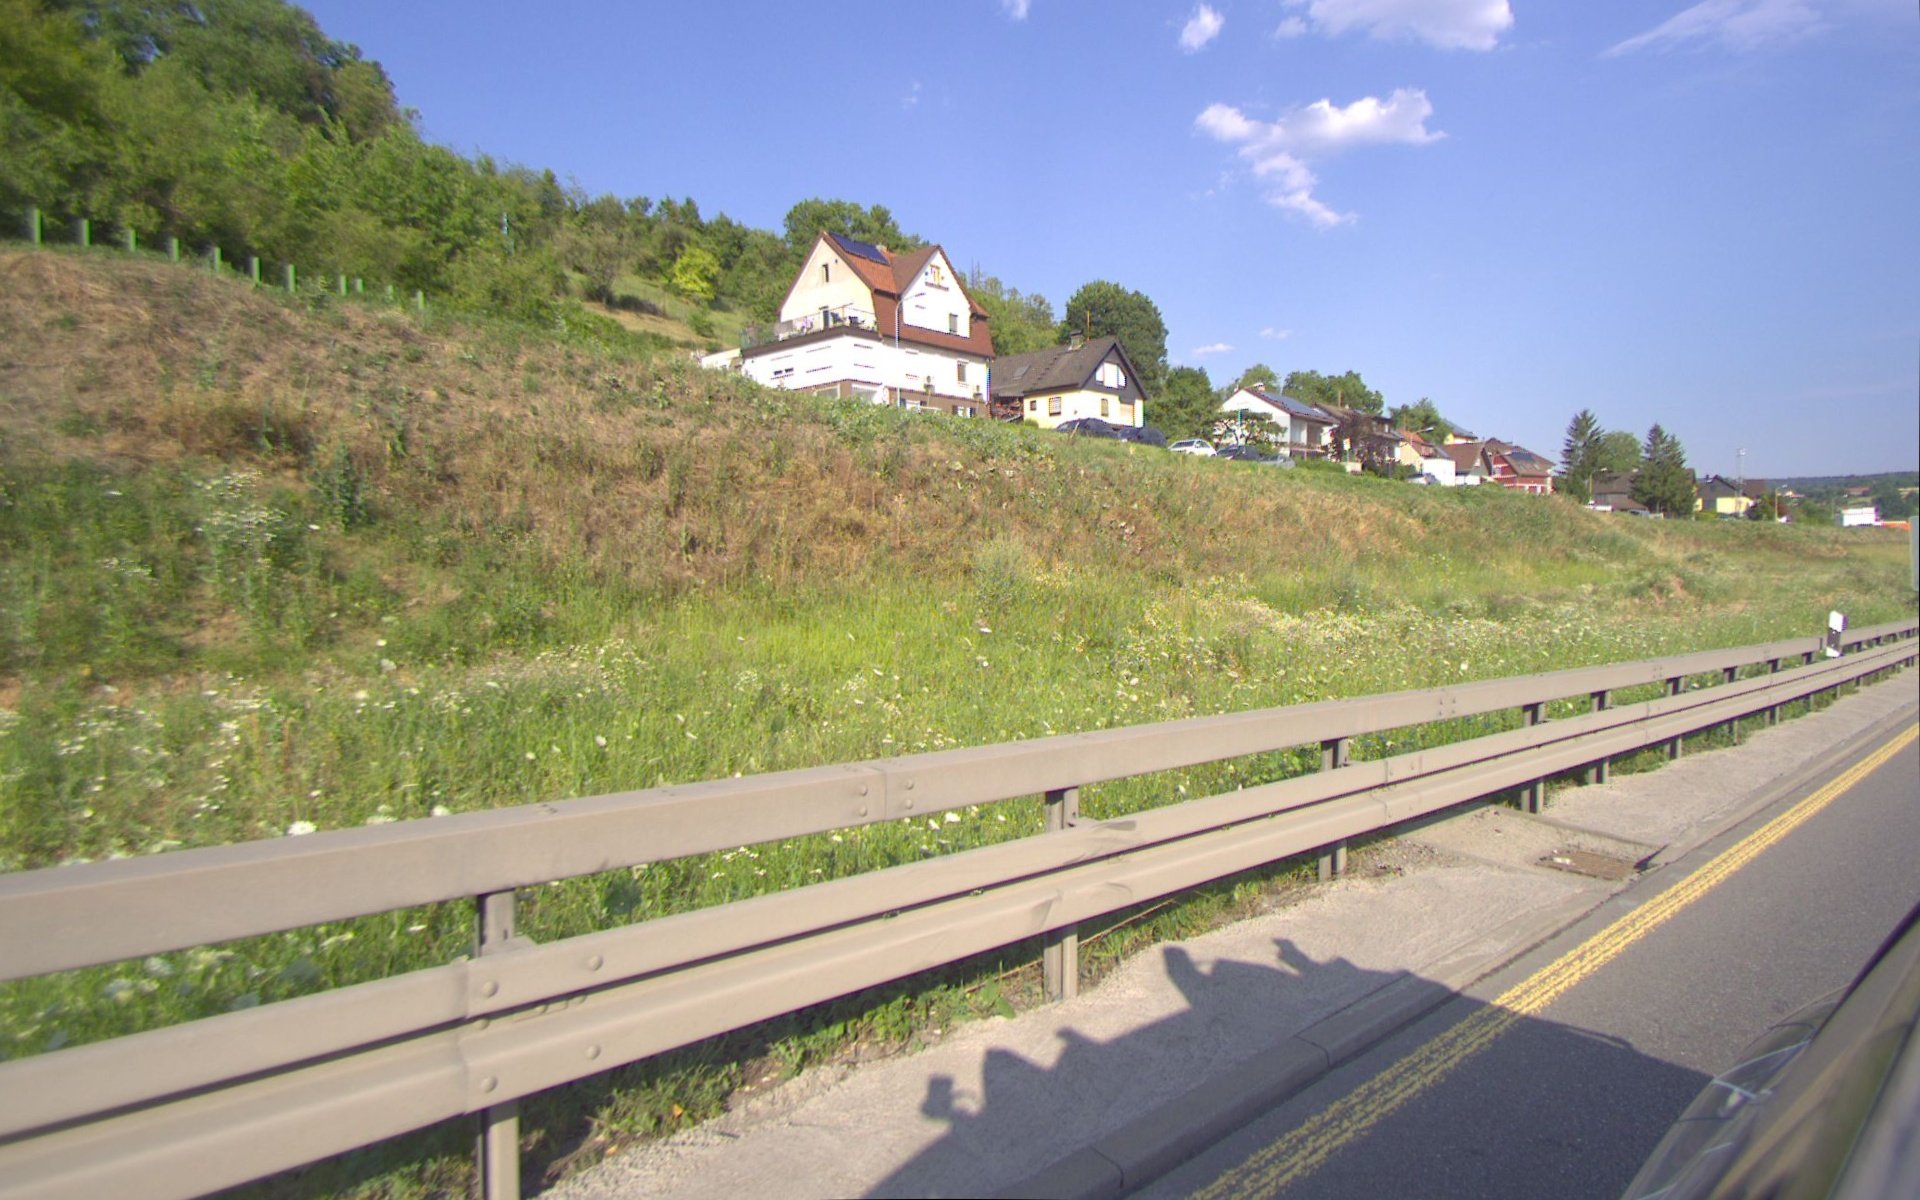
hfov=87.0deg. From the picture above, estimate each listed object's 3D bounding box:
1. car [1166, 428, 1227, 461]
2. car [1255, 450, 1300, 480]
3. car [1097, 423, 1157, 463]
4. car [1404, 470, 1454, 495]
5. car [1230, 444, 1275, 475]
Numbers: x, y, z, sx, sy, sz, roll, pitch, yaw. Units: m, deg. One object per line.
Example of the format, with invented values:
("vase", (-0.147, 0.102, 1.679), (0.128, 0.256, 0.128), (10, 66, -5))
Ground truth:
("car", (12.424, -8.117, 53.095), (1.344, 1.248, 3.839), (0, 1, 44))
("car", (19.119, -8.120, 60.867), (1.443, 1.389, 3.508), (0, 1, 39))
("car", (7.975, -7.430, 48.102), (1.356, 1.476, 3.185), (0, 1, 41))
("car", (35.539, -8.866, 76.635), (3.931, 1.460, 1.997), (-1, 1, -41))
("car", (16.582, -7.910, 57.269), (1.340, 1.339, 3.299), (0, 1, 37))
